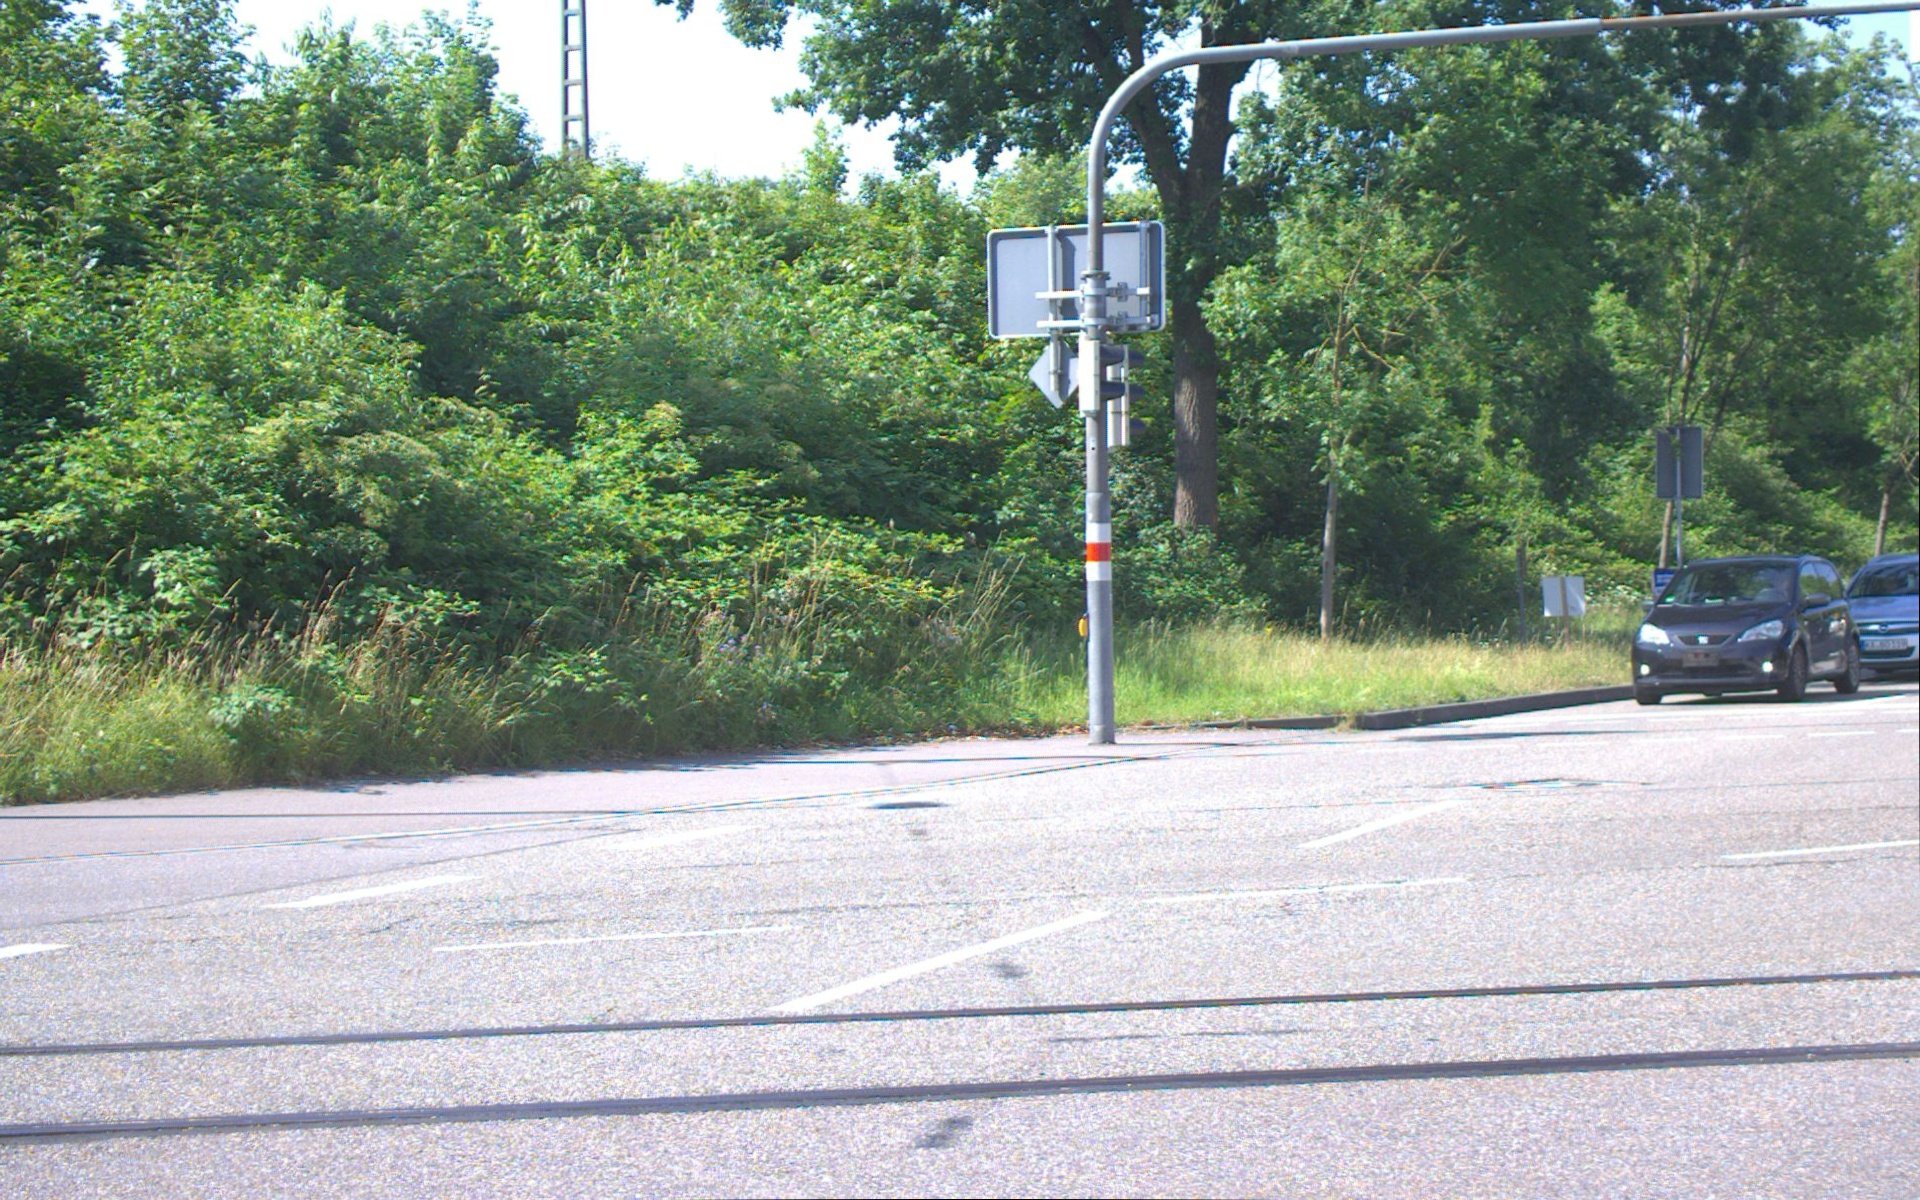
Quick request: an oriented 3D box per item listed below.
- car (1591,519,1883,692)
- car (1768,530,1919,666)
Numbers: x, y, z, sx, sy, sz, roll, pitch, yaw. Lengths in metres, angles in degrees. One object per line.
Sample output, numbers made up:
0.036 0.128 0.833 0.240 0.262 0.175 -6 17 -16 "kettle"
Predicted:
7.860 0.039 34.559 1.914 1.636 3.731 -1 0 28 "car"
11.160 -0.041 40.840 1.996 1.535 4.229 -1 0 28 "car"
